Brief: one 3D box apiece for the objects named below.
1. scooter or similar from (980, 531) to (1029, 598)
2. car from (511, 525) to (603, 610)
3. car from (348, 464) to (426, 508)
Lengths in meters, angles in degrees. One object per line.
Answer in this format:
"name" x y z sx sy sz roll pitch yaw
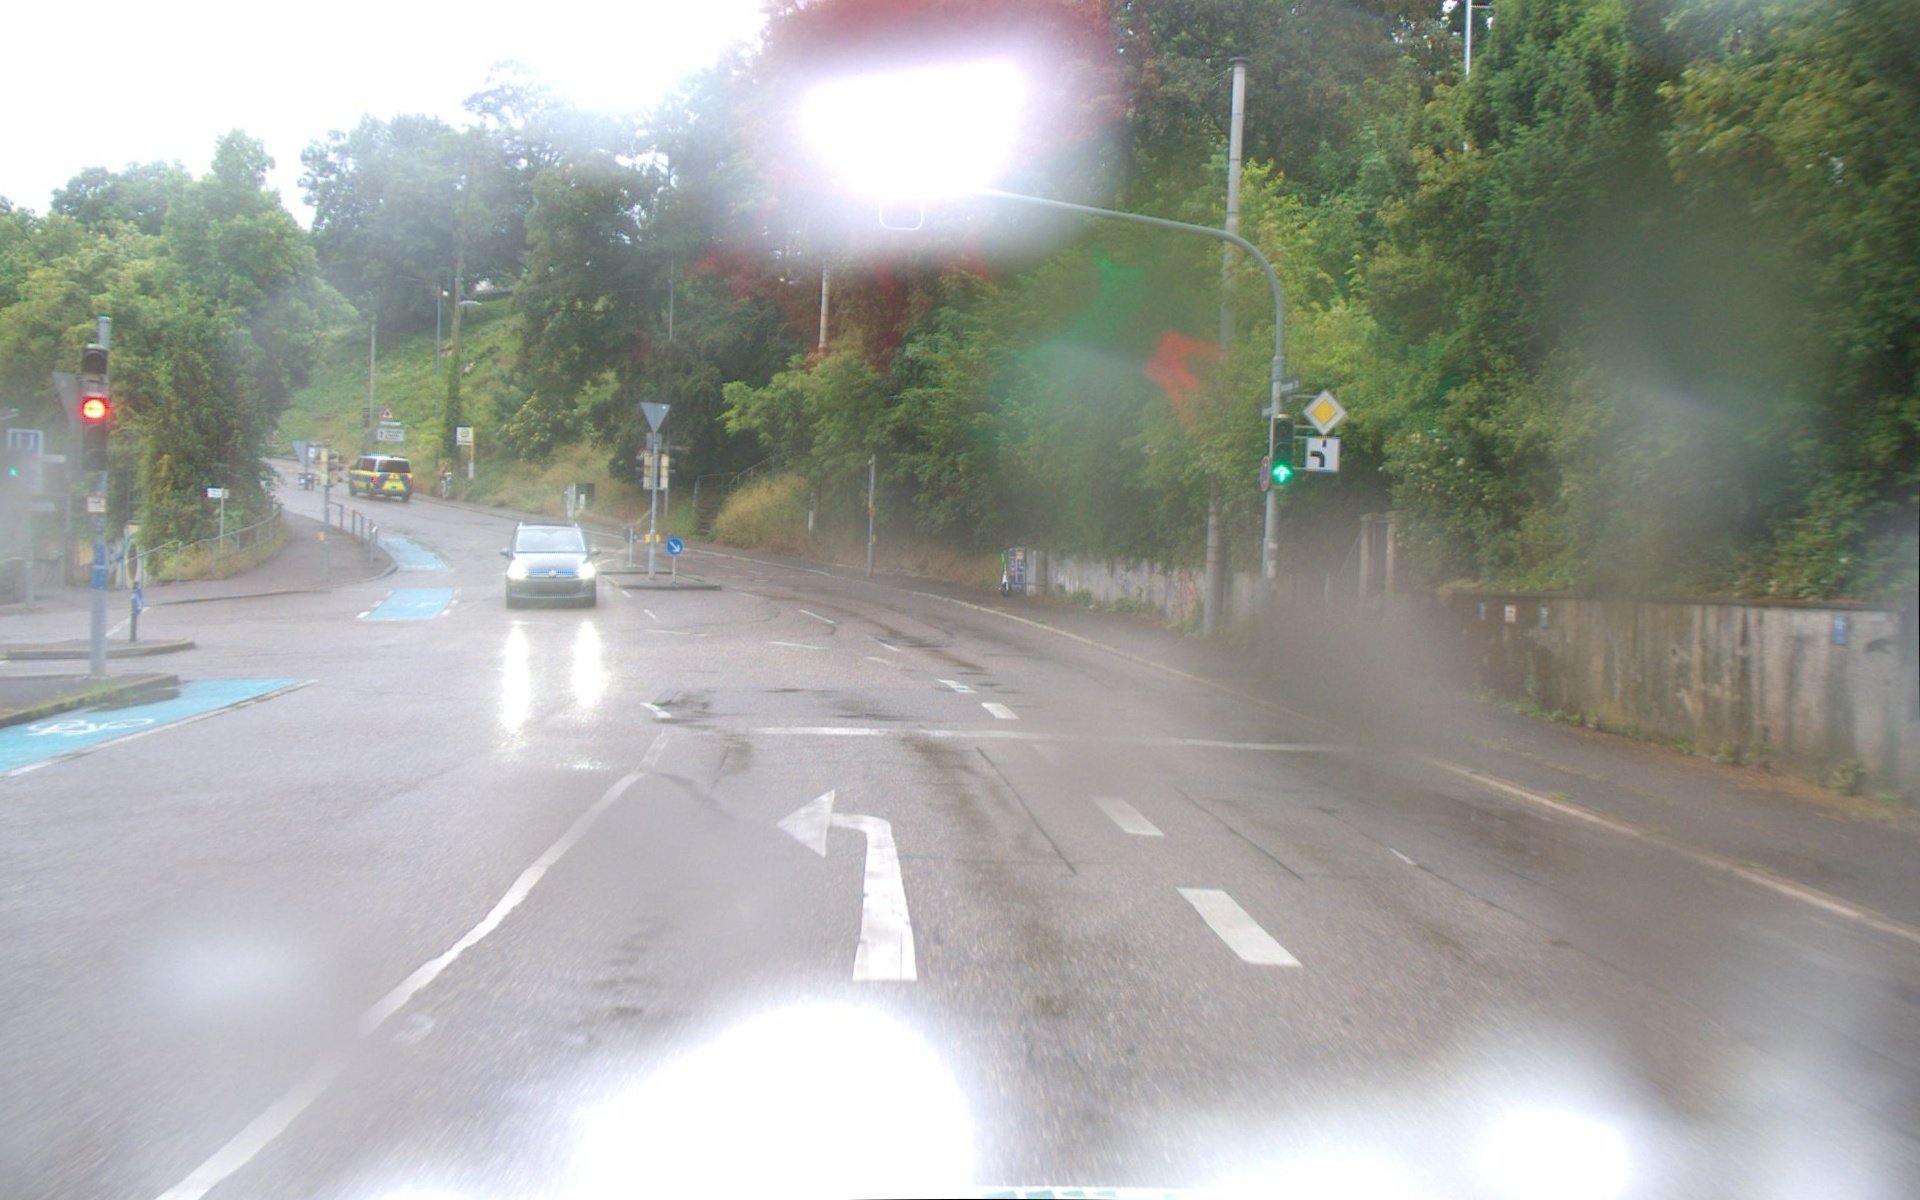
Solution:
"scooter or similar" 1.047 -0.864 39.245 0.606 1.446 2.152 -1 5 -14
"car" -8.340 -0.730 34.380 1.711 1.576 3.988 -2 3 -13
"car" -26.862 -5.377 77.471 2.291 1.972 4.271 -3 6 -36
